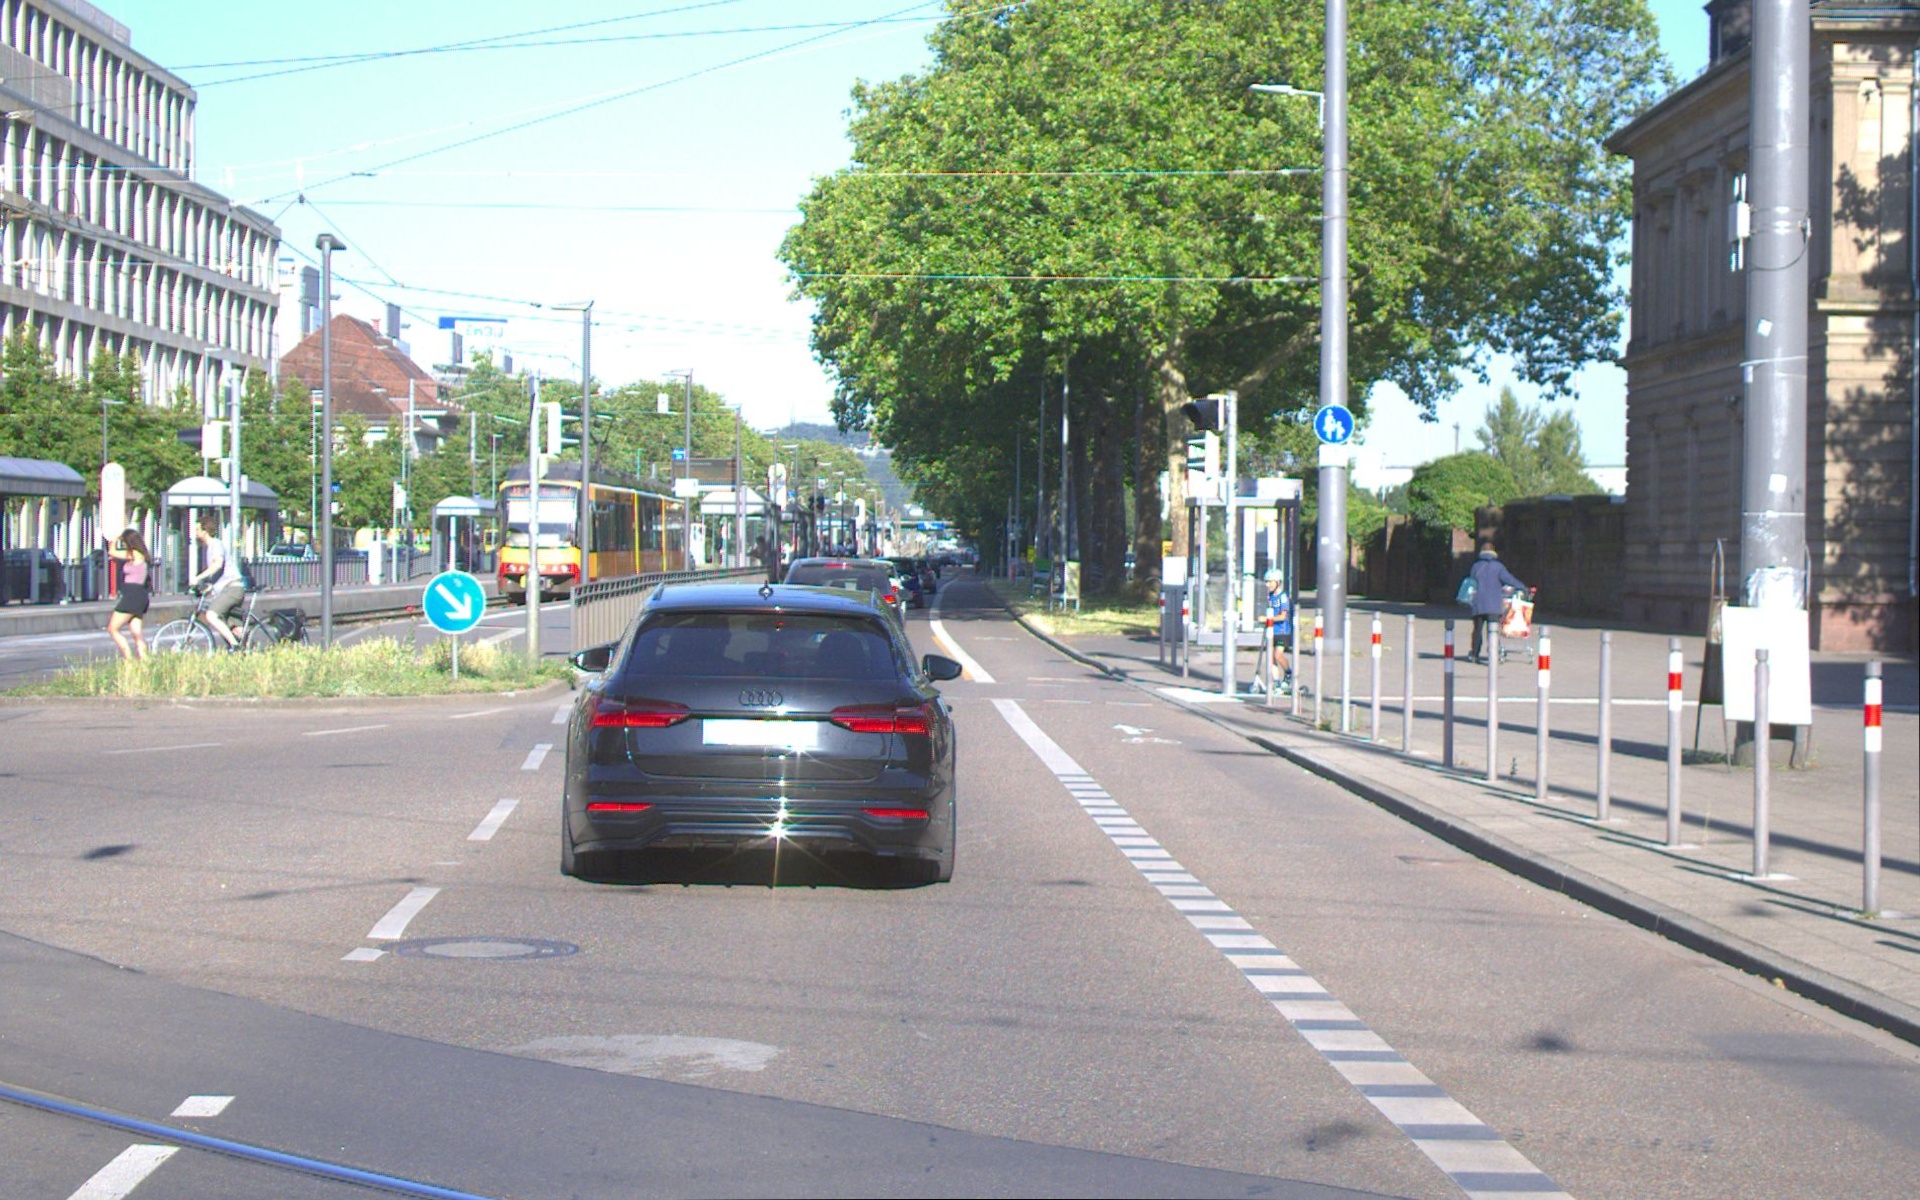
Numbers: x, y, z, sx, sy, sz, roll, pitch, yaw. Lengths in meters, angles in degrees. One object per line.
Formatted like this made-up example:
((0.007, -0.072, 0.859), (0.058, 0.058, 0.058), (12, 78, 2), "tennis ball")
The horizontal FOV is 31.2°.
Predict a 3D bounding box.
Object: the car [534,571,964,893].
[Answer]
((-0.950, 0.586, 17.577), (1.902, 1.417, 4.144), (1, 0, 0), "car")

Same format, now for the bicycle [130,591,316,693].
((-8.188, 0.463, 38.276), (2.005, 1.104, 0.765), (0, 1, -11), "bicycle")

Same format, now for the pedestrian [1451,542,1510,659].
((7.427, 0.002, 49.052), (0.682, 1.655, 0.758), (0, 1, -2), "pedestrian")

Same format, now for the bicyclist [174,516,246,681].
((-8.341, -0.022, 38.241), (0.756, 1.812, 0.765), (0, 1, -11), "bicyclist")

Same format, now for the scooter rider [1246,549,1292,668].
((3.596, 0.101, 40.025), (0.484, 1.381, 0.377), (0, 0, -2), "scooter rider")

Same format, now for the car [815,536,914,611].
((-1.971, -0.545, 71.687), (1.902, 1.481, 4.144), (1, 0, 0), "car")

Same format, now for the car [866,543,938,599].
((-1.594, -0.807, 96.257), (1.902, 1.481, 4.144), (1, 0, 0), "car")

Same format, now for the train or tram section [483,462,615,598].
((-11.058, -1.891, 93.390), (2.608, 3.439, 11.133), (0, 1, -2), "train or tram section")

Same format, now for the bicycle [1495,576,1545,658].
((7.989, 0.237, 49.069), (0.434, 1.141, 1.340), (0, 1, -2), "bicycle")

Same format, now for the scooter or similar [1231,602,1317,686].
((3.654, 0.514, 40.027), (0.938, 0.963, 0.361), (-1, 0, -2), "scooter or similar")

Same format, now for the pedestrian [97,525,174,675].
((-9.652, 0.000, 40.245), (0.740, 1.735, 0.663), (1, 1, -1), "pedestrian")

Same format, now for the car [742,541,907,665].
((-1.677, 0.028, 43.934), (1.902, 1.481, 4.144), (1, 0, 0), "car")
